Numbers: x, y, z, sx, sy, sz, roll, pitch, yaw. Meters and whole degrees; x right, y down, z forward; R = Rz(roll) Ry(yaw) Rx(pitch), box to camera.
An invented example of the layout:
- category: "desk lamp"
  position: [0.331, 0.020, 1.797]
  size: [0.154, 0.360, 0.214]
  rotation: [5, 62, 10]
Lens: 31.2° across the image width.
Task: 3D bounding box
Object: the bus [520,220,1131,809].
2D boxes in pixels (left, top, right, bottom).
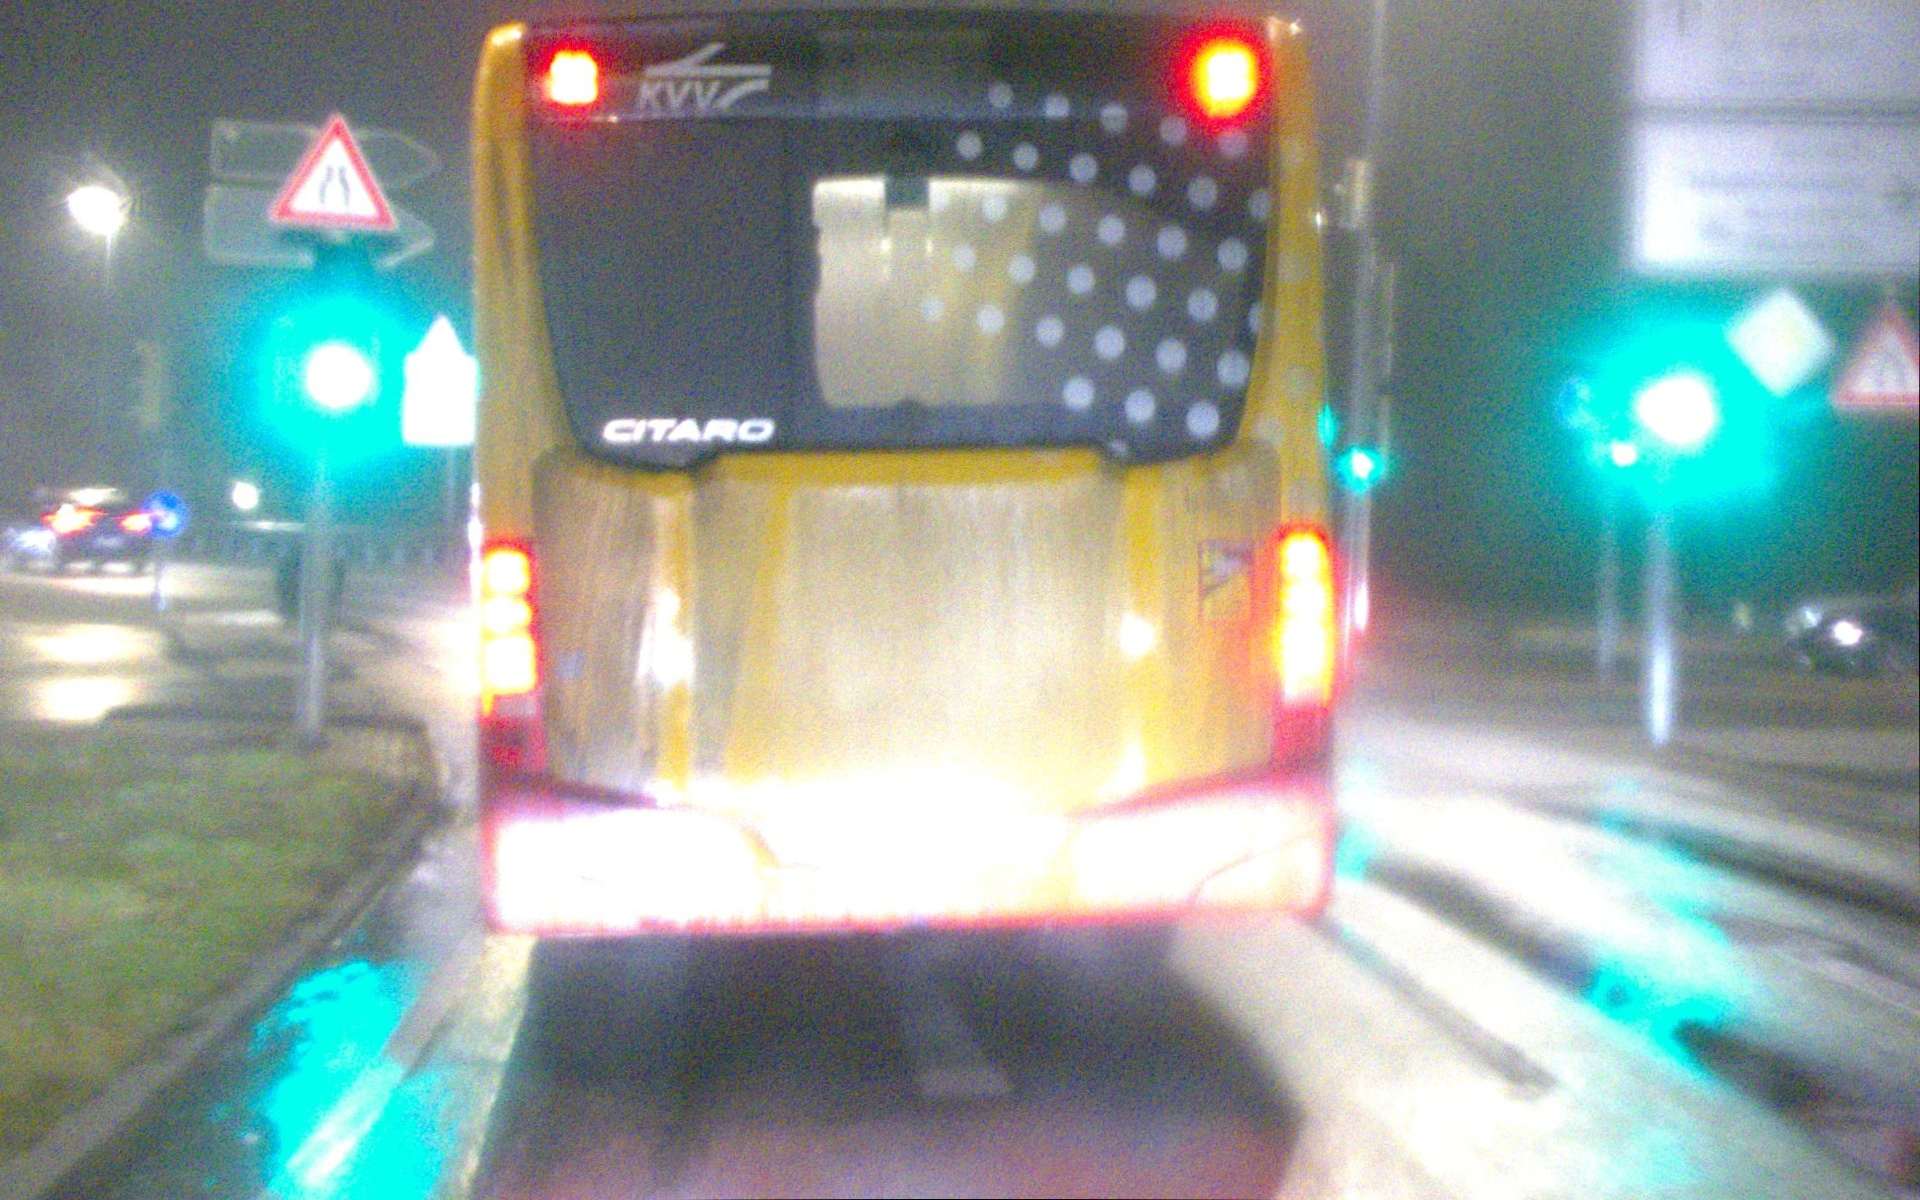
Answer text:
- category: "bus"
  position: [-1.268, -0.616, 23.331]
  size: [3.246, 3.109, 8.648]
  rotation: [3, 2, -7]

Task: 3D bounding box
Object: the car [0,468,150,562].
- category: "car"
  position: [-16.546, -1.560, 63.472]
  size: [1.816, 1.612, 4.000]
  rotation: [2, 0, -33]

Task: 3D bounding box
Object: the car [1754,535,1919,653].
- category: "car"
  position: [13.447, -0.056, 47.990]
  size: [4.163, 1.513, 1.857]
  rotation: [2, 2, -4]

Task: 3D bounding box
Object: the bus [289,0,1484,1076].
- category: "bus"
  position: [-0.418, -0.377, 14.278]
  size: [3.285, 3.040, 9.545]
  rotation: [-1, 2, -3]

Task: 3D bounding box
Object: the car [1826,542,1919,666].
- category: "car"
  position: [13.845, 0.102, 44.915]
  size: [4.482, 1.513, 1.857]
  rotation: [2, 2, -4]

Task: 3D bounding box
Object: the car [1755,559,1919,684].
- category: "car"
  position: [11.707, 0.286, 40.796]
  size: [4.042, 1.341, 1.747]
  rotation: [2, 2, -4]
